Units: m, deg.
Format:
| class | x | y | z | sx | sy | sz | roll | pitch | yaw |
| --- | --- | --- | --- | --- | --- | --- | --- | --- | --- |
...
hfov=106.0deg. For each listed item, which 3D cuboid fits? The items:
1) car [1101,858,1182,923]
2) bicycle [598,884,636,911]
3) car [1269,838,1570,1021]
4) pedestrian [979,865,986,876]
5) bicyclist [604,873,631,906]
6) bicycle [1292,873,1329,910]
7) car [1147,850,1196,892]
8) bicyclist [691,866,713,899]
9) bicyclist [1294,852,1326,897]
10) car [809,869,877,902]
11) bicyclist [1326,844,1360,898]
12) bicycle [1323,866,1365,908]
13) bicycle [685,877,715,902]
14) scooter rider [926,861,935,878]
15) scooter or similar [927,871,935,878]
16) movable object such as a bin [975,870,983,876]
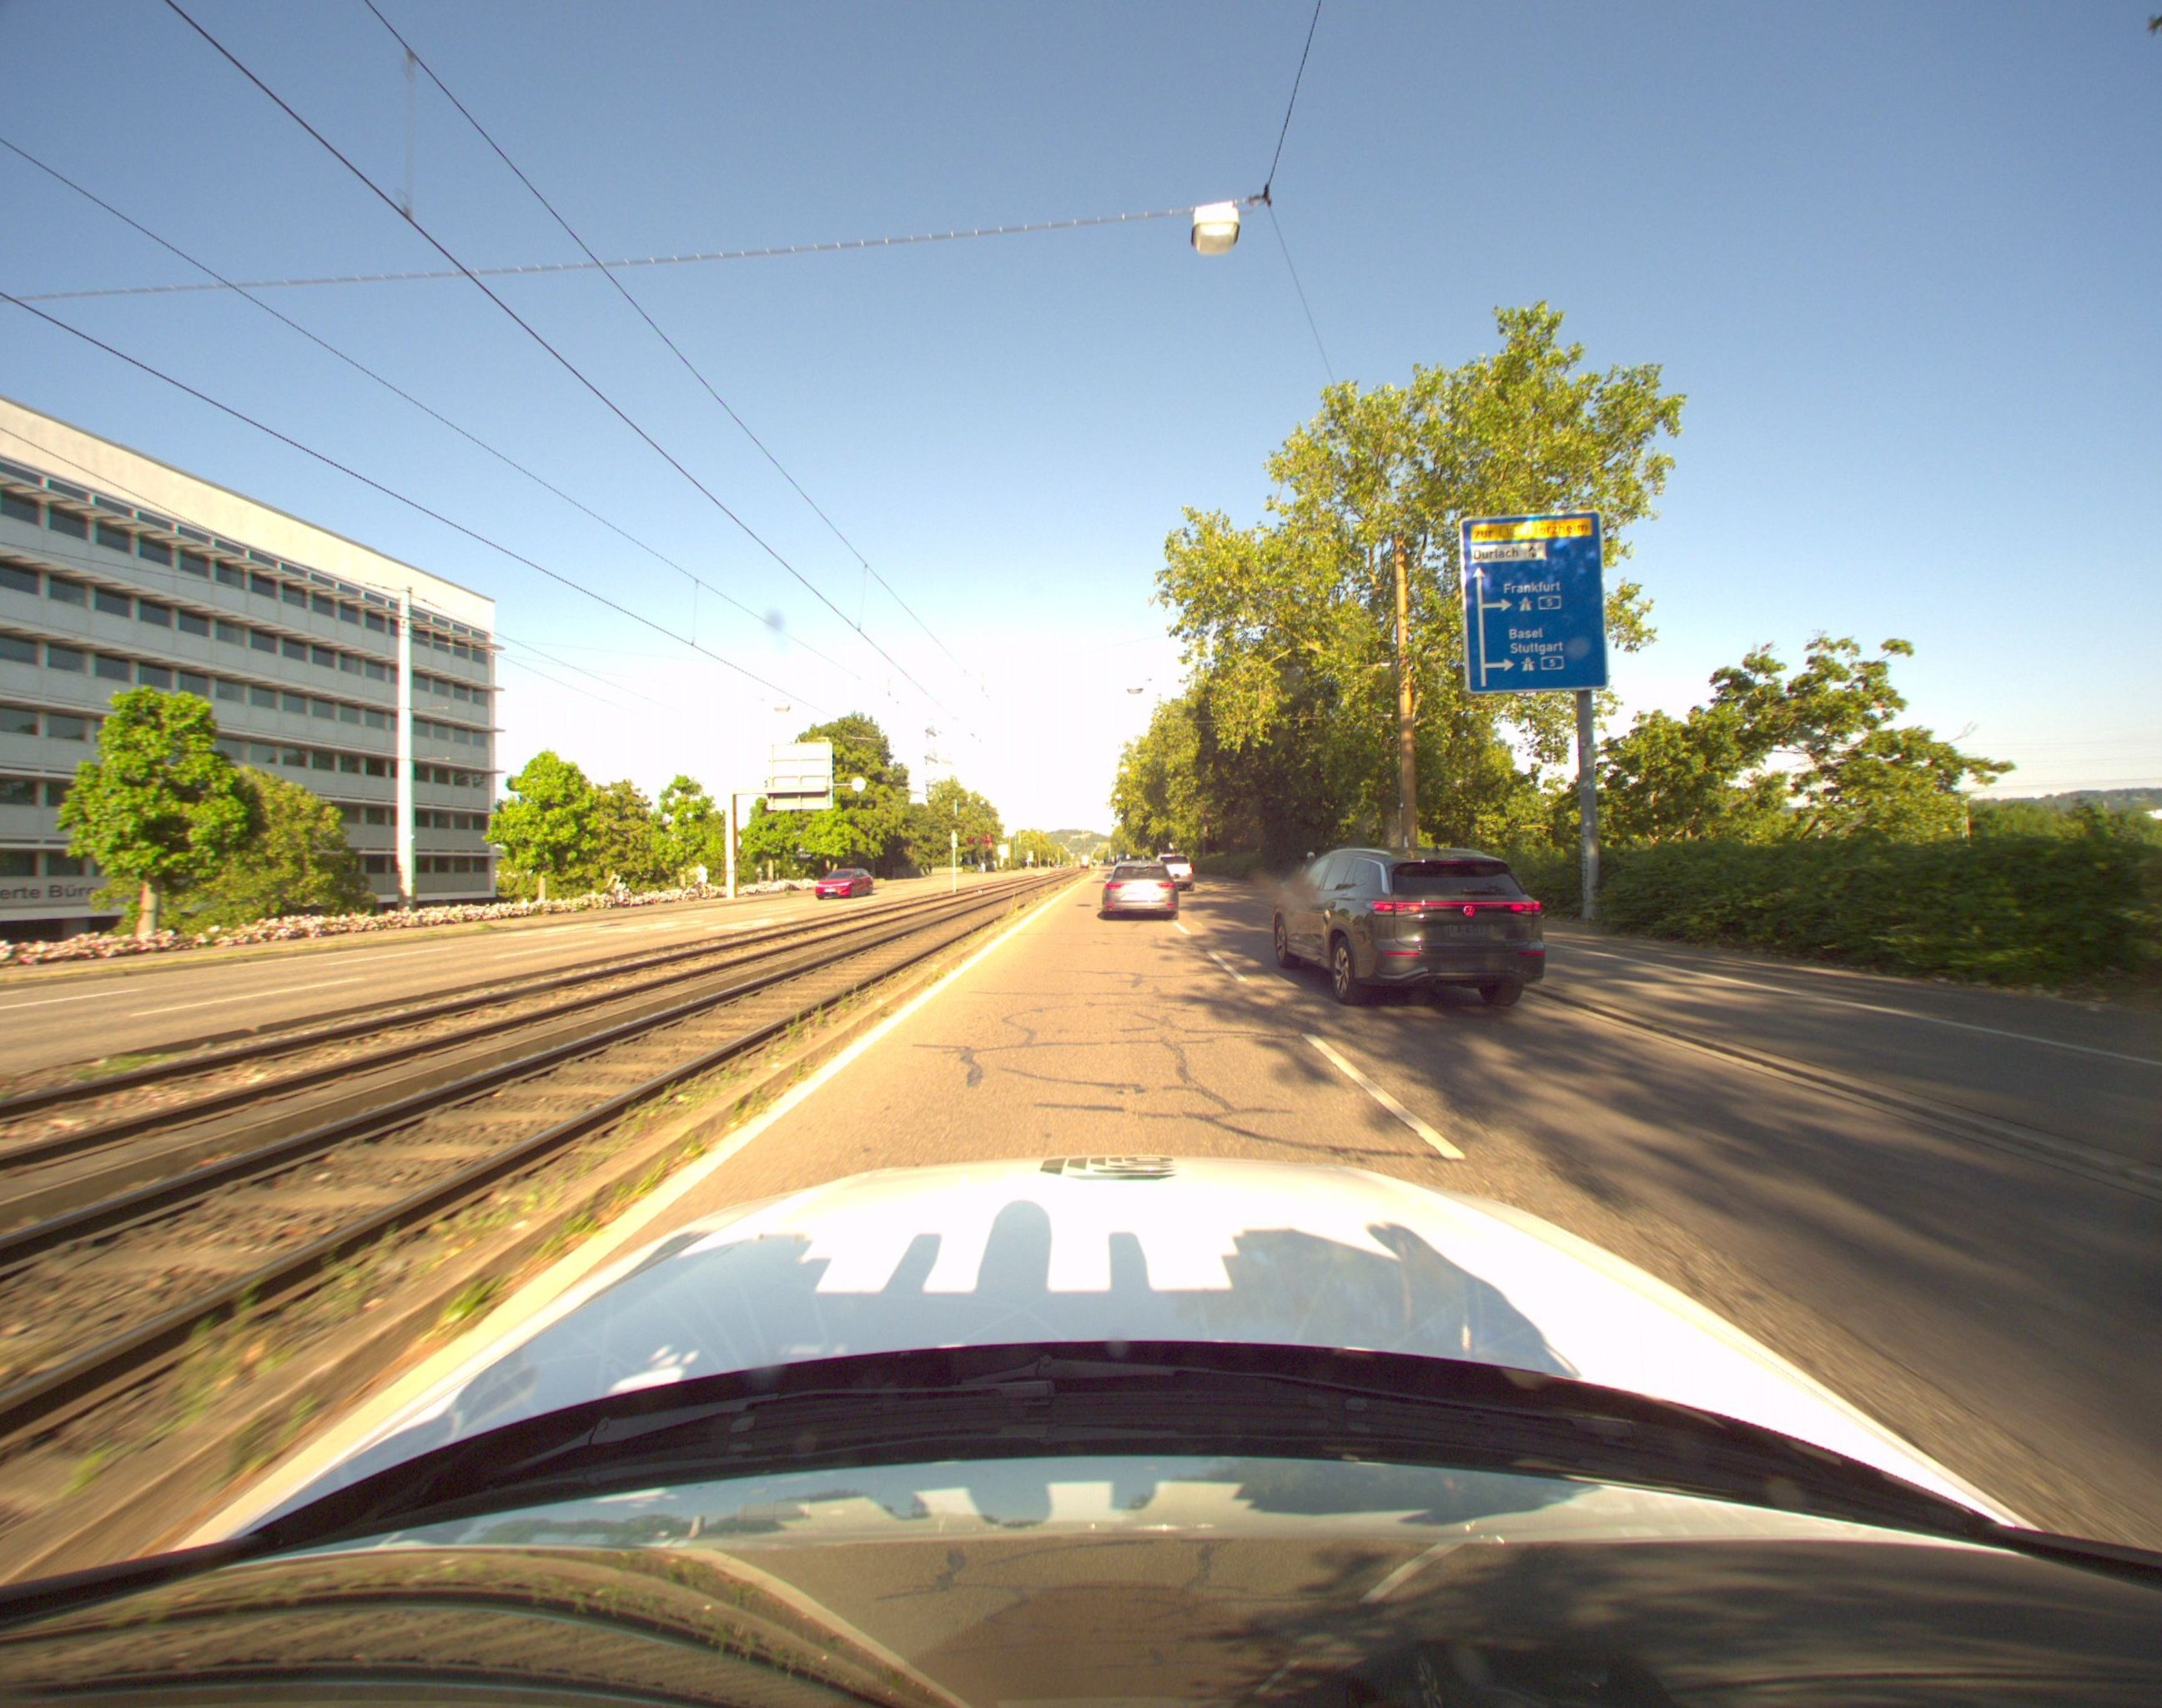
| class | x | y | z | sx | sy | sz | roll | pitch | yaw |
| --- | --- | --- | --- | --- | --- | --- | --- | --- | --- |
| car | 1.479 | 0.873 | 21.211 | 1.859 | 1.467 | 4.668 | -1 | -1 | 2 |
| bicycle | -20.005 | 1.879 | 35.148 | 0.622 | 1.059 | 1.704 | 1 | 0 | 2 |
| car | 3.601 | 0.710 | 9.654 | 1.837 | 1.661 | 4.441 | 0 | -1 | 2 |
| pedestrian | -16.067 | 2.741 | 132.358 | 0.718 | 1.756 | 0.840 | 1 | -2 | 23 |
| bicyclist | -19.998 | 1.525 | 35.154 | 0.622 | 1.374 | 0.880 | 1 | 0 | 1 |
| bicycle | 6.514 | 1.047 | 23.193 | 0.563 | 0.974 | 1.788 | -2 | 0 | 1 |
| car | 4.120 | 0.736 | 37.589 | 1.877 | 1.796 | 4.000 | 1 | 0 | 1 |
| bicyclist | -19.589 | 1.442 | 42.073 | 0.600 | 1.659 | 0.964 | 1 | 0 | 4 |
| bicyclist | 6.505 | 0.575 | 23.194 | 0.639 | 1.226 | 0.891 | -2 | 0 | 1 |
| car | -12.577 | 1.618 | 43.388 | 2.032 | 1.503 | 4.890 | -1 | 0 | 2 |
| bicyclist | 7.456 | 0.478 | 23.194 | 0.683 | 1.509 | 0.891 | -1 | 0 | 1 |
| bicycle | 7.456 | 0.909 | 23.175 | 0.620 | 1.120 | 1.813 | -2 | 0 | 1 |
| bicycle | -19.605 | 1.828 | 41.970 | 0.600 | 1.219 | 1.751 | 1 | 0 | 5 |
| scooter rider | -17.008 | 1.731 | 92.243 | 0.678 | 1.848 | 1.003 | -2 | -1 | 9 |
| scooter or similar | -16.990 | 2.306 | 92.243 | 0.469 | 0.829 | 1.265 | -2 | -1 | 8 |
| movable object such as a bin | -16.446 | 3.085 | 131.455 | 0.718 | 0.961 | 1.107 | 1 | -2 | 23 |
